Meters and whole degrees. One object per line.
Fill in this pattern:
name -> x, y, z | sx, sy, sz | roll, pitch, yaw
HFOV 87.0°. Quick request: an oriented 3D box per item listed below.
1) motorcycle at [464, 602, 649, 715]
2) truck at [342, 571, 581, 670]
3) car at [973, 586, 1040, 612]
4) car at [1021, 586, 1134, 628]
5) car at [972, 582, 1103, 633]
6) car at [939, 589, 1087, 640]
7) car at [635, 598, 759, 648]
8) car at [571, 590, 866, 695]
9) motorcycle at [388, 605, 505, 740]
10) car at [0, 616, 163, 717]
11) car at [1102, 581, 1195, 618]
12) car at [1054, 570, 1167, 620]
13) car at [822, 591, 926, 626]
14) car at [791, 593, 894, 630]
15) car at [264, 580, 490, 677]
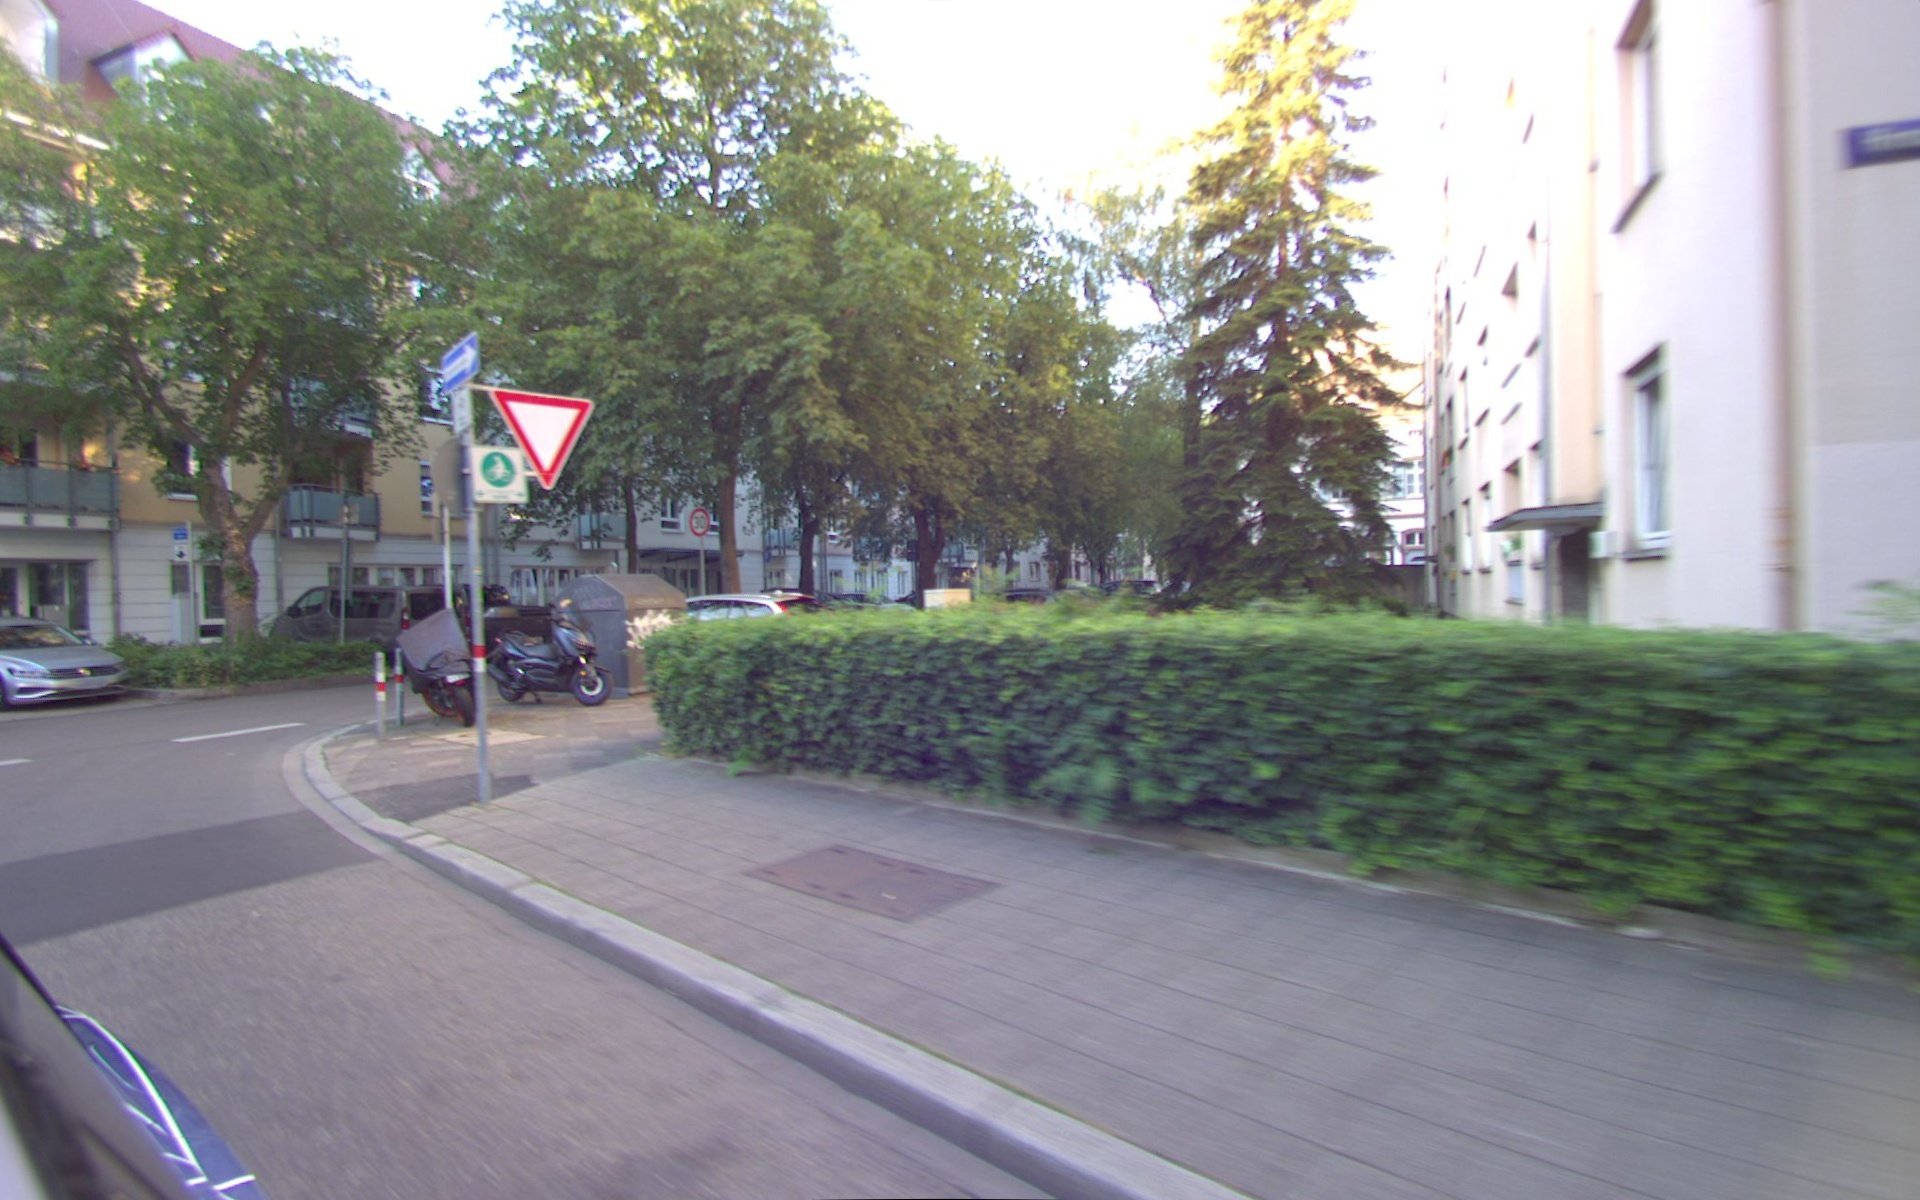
motorcycle -> -5.587, 0.792, 13.987 | 2.446, 1.431, 0.903 | -2, 0, 25
truck -> -12.836, 0.538, 26.028 | 5.870, 2.328, 2.195 | -2, 0, 24
car -> 3.045, -0.066, 66.163 | 3.955, 1.597, 1.902 | 1, 2, 22
car -> 4.536, 0.262, 39.027 | 3.971, 1.475, 1.909 | -2, 0, 21
car -> 2.636, 0.245, 34.390 | 3.981, 1.577, 1.911 | -2, 0, 28
car -> 1.673, 0.449, 31.812 | 4.273, 1.440, 1.865 | -2, 0, 23
car -> -9.082, 0.787, 35.018 | 3.762, 1.556, 1.864 | -2, 0, 22
car -> -4.137, 0.713, 17.309 | 4.608, 1.564, 2.058 | -2, 0, 25
motorcycle -> -6.156, 0.798, 12.064 | 0.838, 1.431, 2.259 | -2, 1, -36
car -> -16.426, 1.092, 17.609 | 4.604, 1.514, 1.948 | -1, 1, 21
car -> 10.008, -0.035, 53.690 | 4.488, 1.785, 1.986 | -2, 0, 21
car -> 6.523, -0.200, 43.806 | 4.488, 1.970, 1.986 | -2, 0, 21
car -> -4.033, 0.361, 47.403 | 4.583, 1.479, 1.783 | 1, 2, 22
car -> -5.243, 0.478, 45.260 | 4.213, 1.449, 1.914 | 2, 2, 25
car -> -13.571, 0.646, 23.590 | 4.583, 2.082, 2.182 | -1, 0, 22
